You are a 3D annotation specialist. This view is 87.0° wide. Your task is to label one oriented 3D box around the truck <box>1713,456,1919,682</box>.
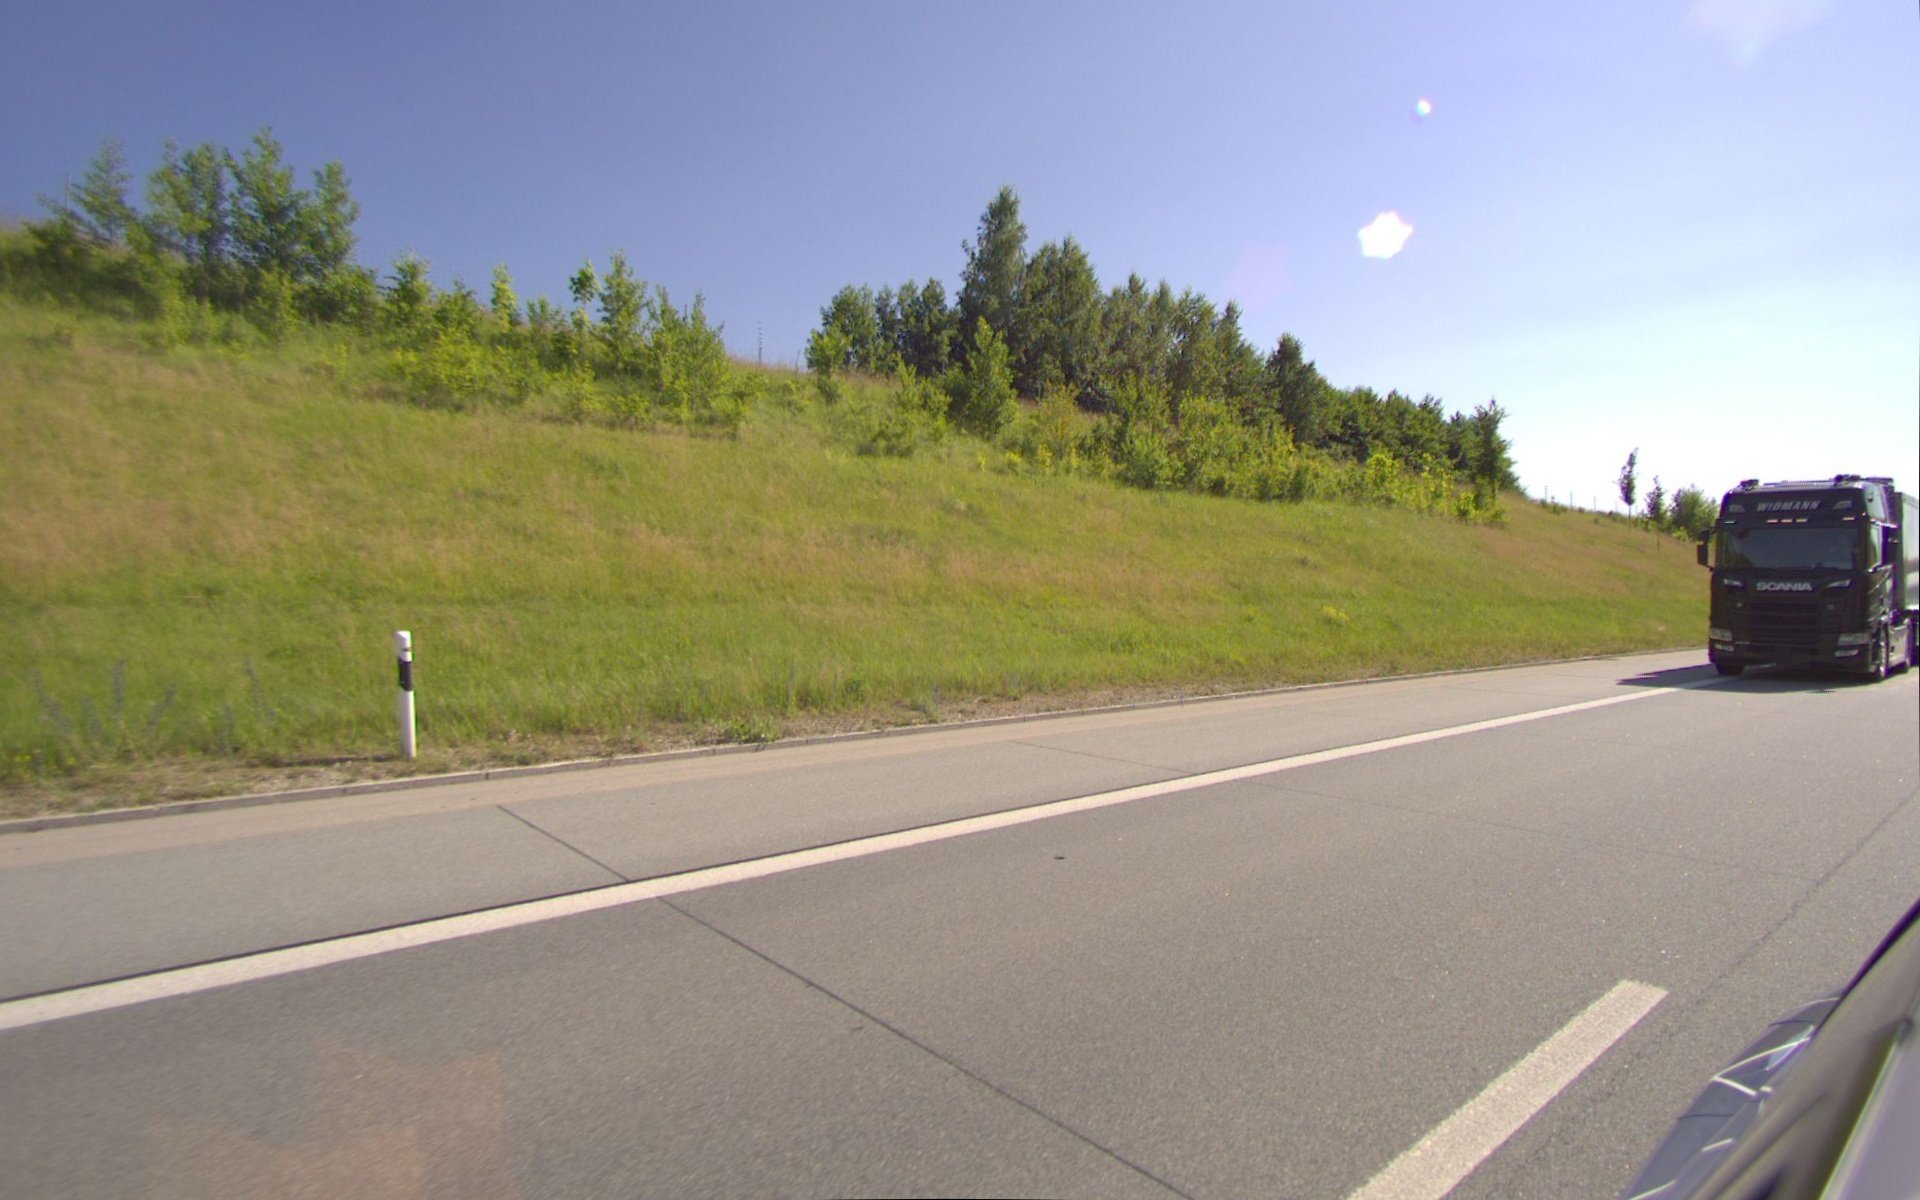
[{"bbox_3d":[20.203,-0.606,22.632,13.168,3.865,2.621,-1,1,-41],"label":"truck"}]
